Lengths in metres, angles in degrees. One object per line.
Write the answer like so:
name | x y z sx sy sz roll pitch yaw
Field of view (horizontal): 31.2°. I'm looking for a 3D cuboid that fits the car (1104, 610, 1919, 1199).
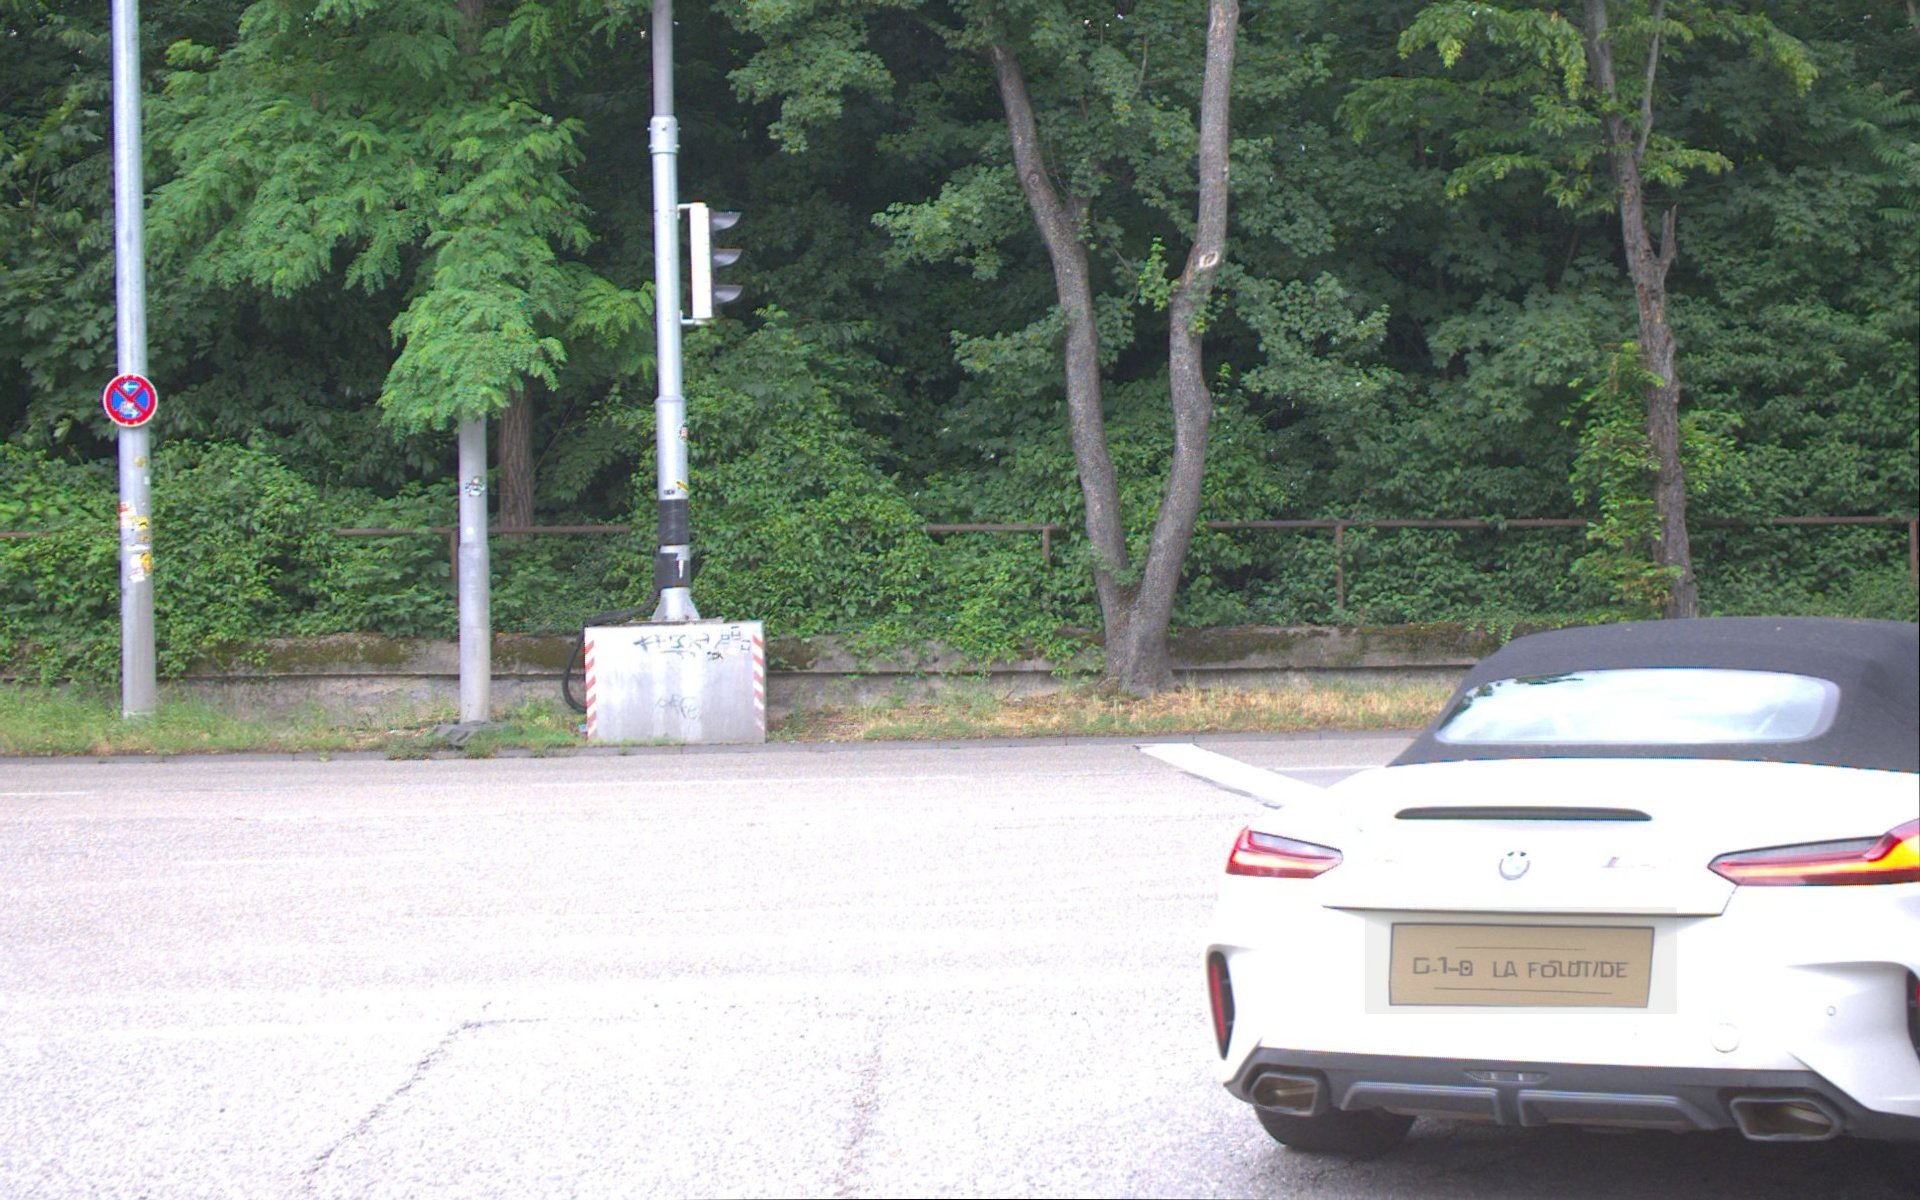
car | 2.079 0.700 8.870 1.878 1.305 3.867 -1 0 29
